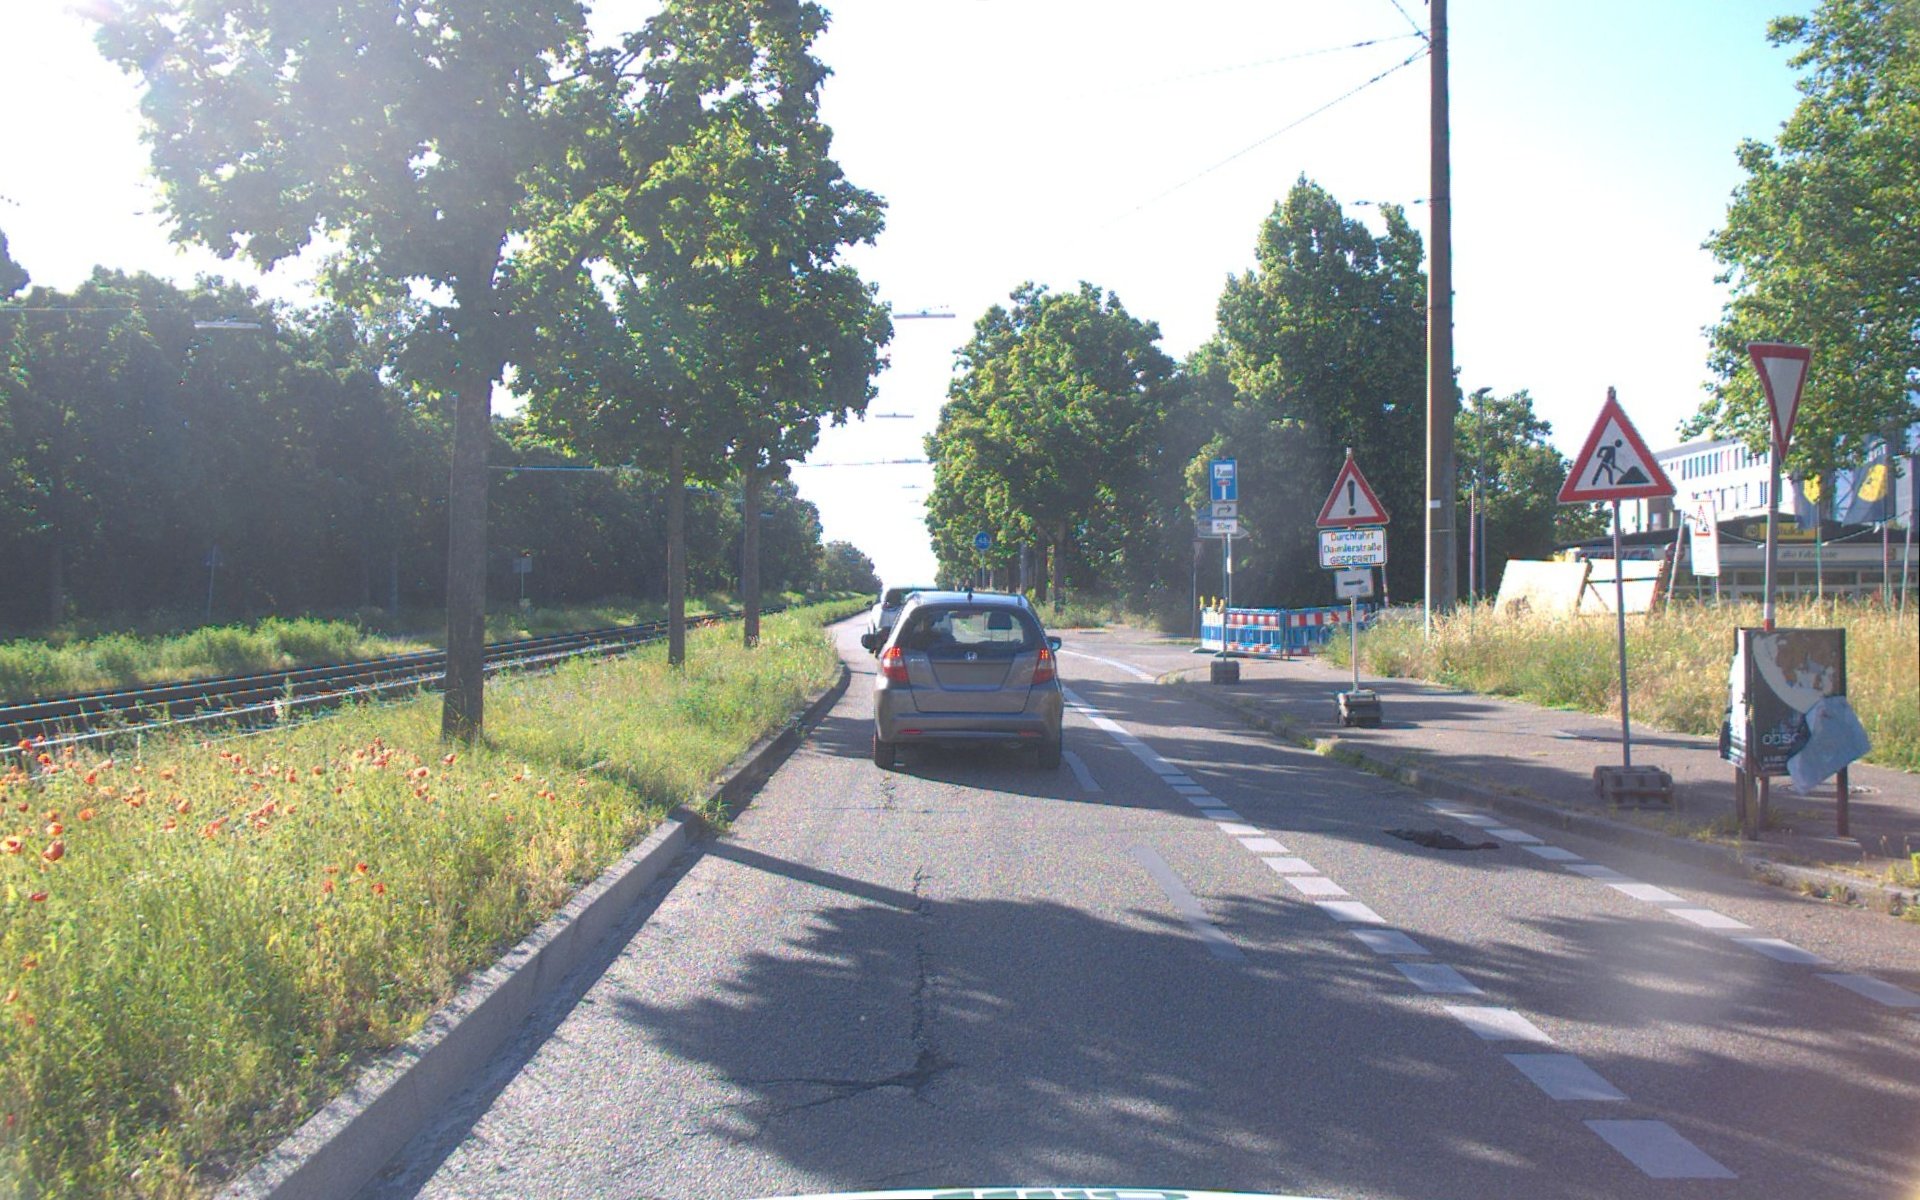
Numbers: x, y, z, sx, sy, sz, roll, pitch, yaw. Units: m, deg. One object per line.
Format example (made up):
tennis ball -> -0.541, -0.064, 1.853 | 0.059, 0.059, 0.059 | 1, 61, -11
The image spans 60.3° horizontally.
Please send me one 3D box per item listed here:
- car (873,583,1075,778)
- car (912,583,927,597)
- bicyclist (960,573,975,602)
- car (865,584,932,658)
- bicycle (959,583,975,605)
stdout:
car -> 0.050, 0.648, 15.509 | 1.637, 1.542, 3.672 | 2, 1, -2
car -> -6.040, -1.478, 247.497 | 1.953, 2.049, 4.000 | -3, -1, 0
bicyclist -> 0.391, -0.657, 88.421 | 0.801, 1.551, 0.966 | 1, -2, 0
car -> -1.323, 0.460, 36.340 | 1.323, 1.554, 3.123 | -1, -1, 0
bicycle -> 0.378, -0.306, 88.393 | 0.801, 1.066, 2.506 | 1, -1, 0
